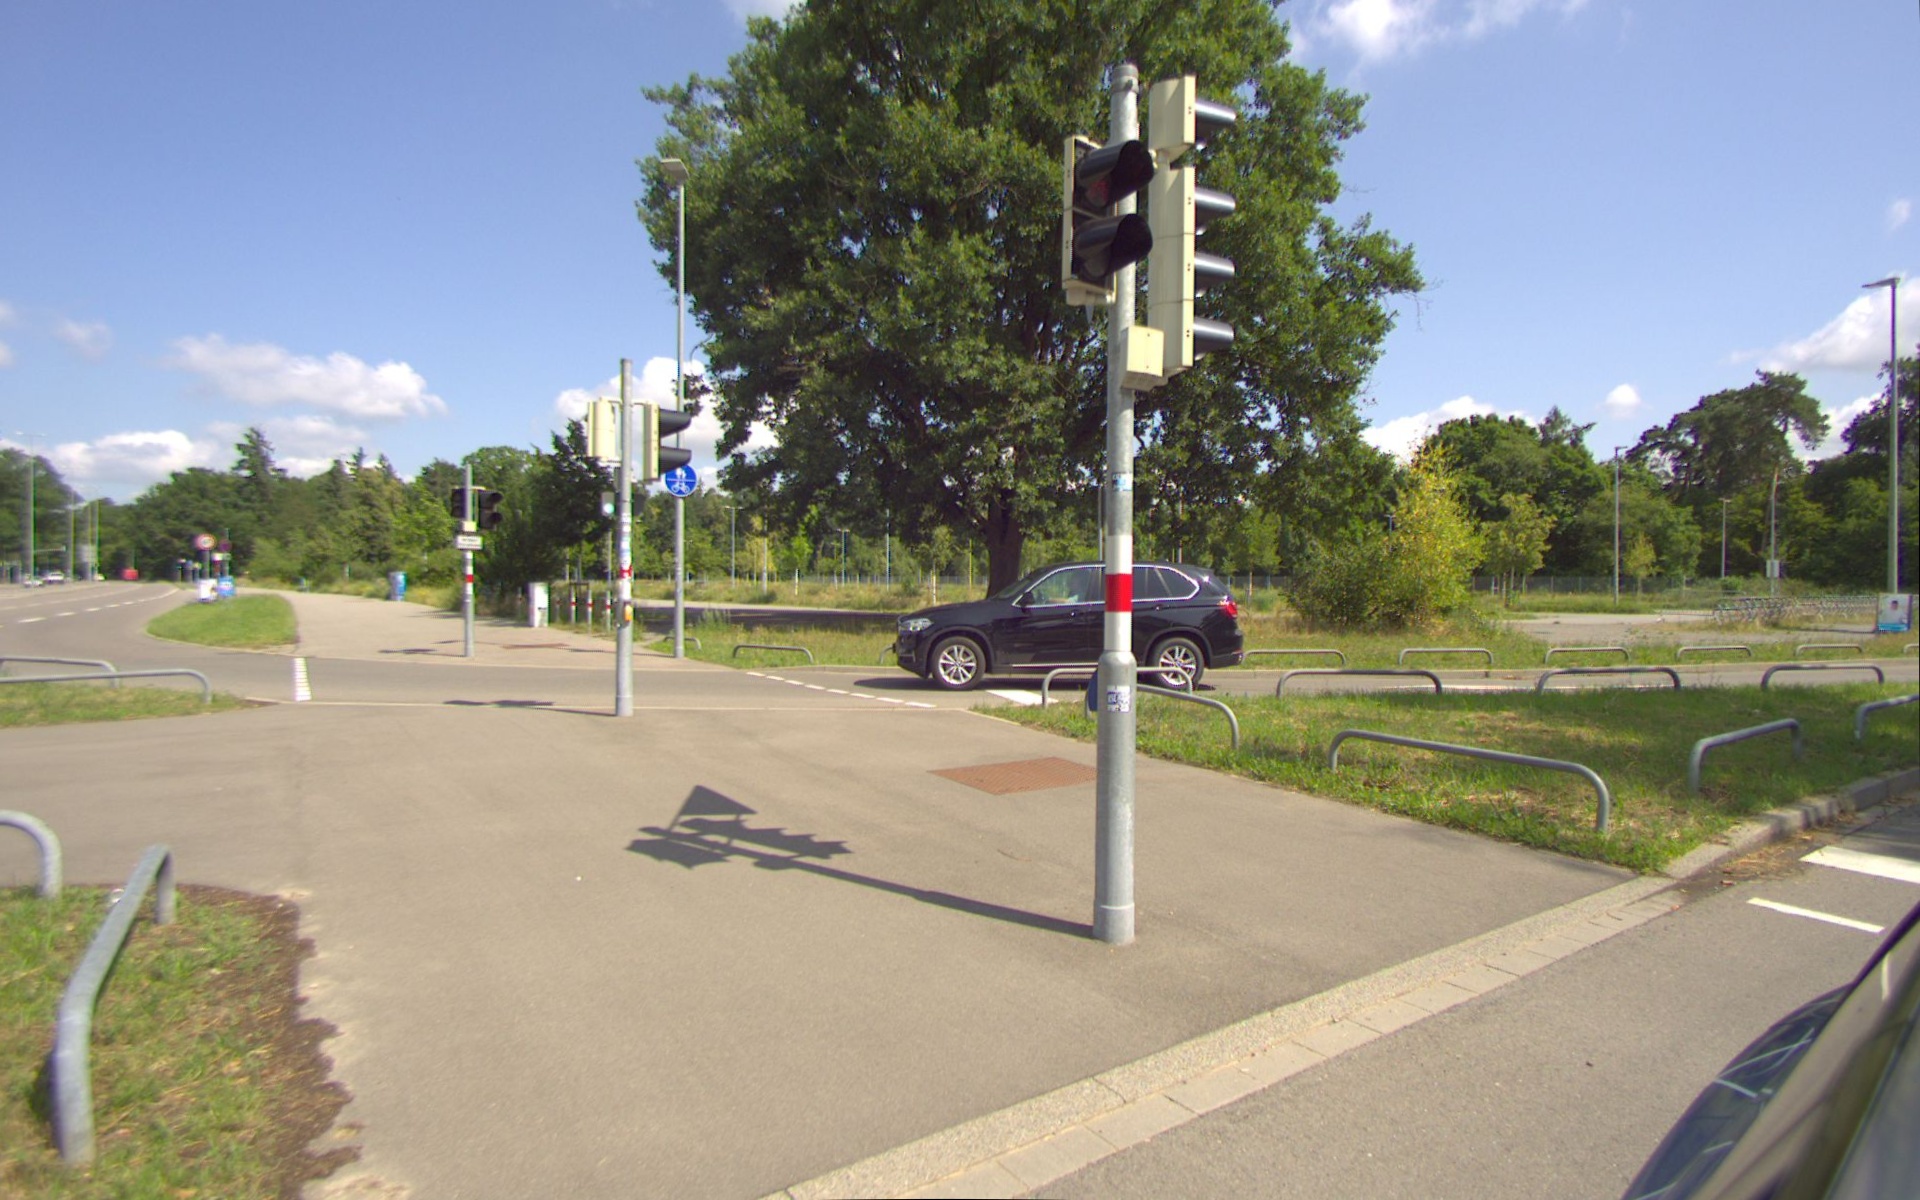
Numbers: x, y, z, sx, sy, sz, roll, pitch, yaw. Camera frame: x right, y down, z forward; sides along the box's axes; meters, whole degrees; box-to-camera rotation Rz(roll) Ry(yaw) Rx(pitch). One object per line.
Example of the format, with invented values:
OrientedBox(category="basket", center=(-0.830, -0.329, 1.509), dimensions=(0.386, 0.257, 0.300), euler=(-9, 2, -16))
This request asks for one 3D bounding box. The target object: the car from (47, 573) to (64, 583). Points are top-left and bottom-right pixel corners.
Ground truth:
OrientedBox(category="car", center=(-144.598, -3.562, 161.839), dimensions=(1.551, 1.497, 3.571), euler=(-2, 2, -35))

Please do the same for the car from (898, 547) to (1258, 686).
OrientedBox(category="car", center=(1.503, 0.189, 14.016), dimensions=(4.618, 1.787, 1.982), euler=(0, 1, 0))

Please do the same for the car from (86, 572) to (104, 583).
OrientedBox(category="car", center=(-126.340, -3.286, 147.868), dimensions=(1.551, 1.497, 3.572), euler=(-2, 2, -34))
